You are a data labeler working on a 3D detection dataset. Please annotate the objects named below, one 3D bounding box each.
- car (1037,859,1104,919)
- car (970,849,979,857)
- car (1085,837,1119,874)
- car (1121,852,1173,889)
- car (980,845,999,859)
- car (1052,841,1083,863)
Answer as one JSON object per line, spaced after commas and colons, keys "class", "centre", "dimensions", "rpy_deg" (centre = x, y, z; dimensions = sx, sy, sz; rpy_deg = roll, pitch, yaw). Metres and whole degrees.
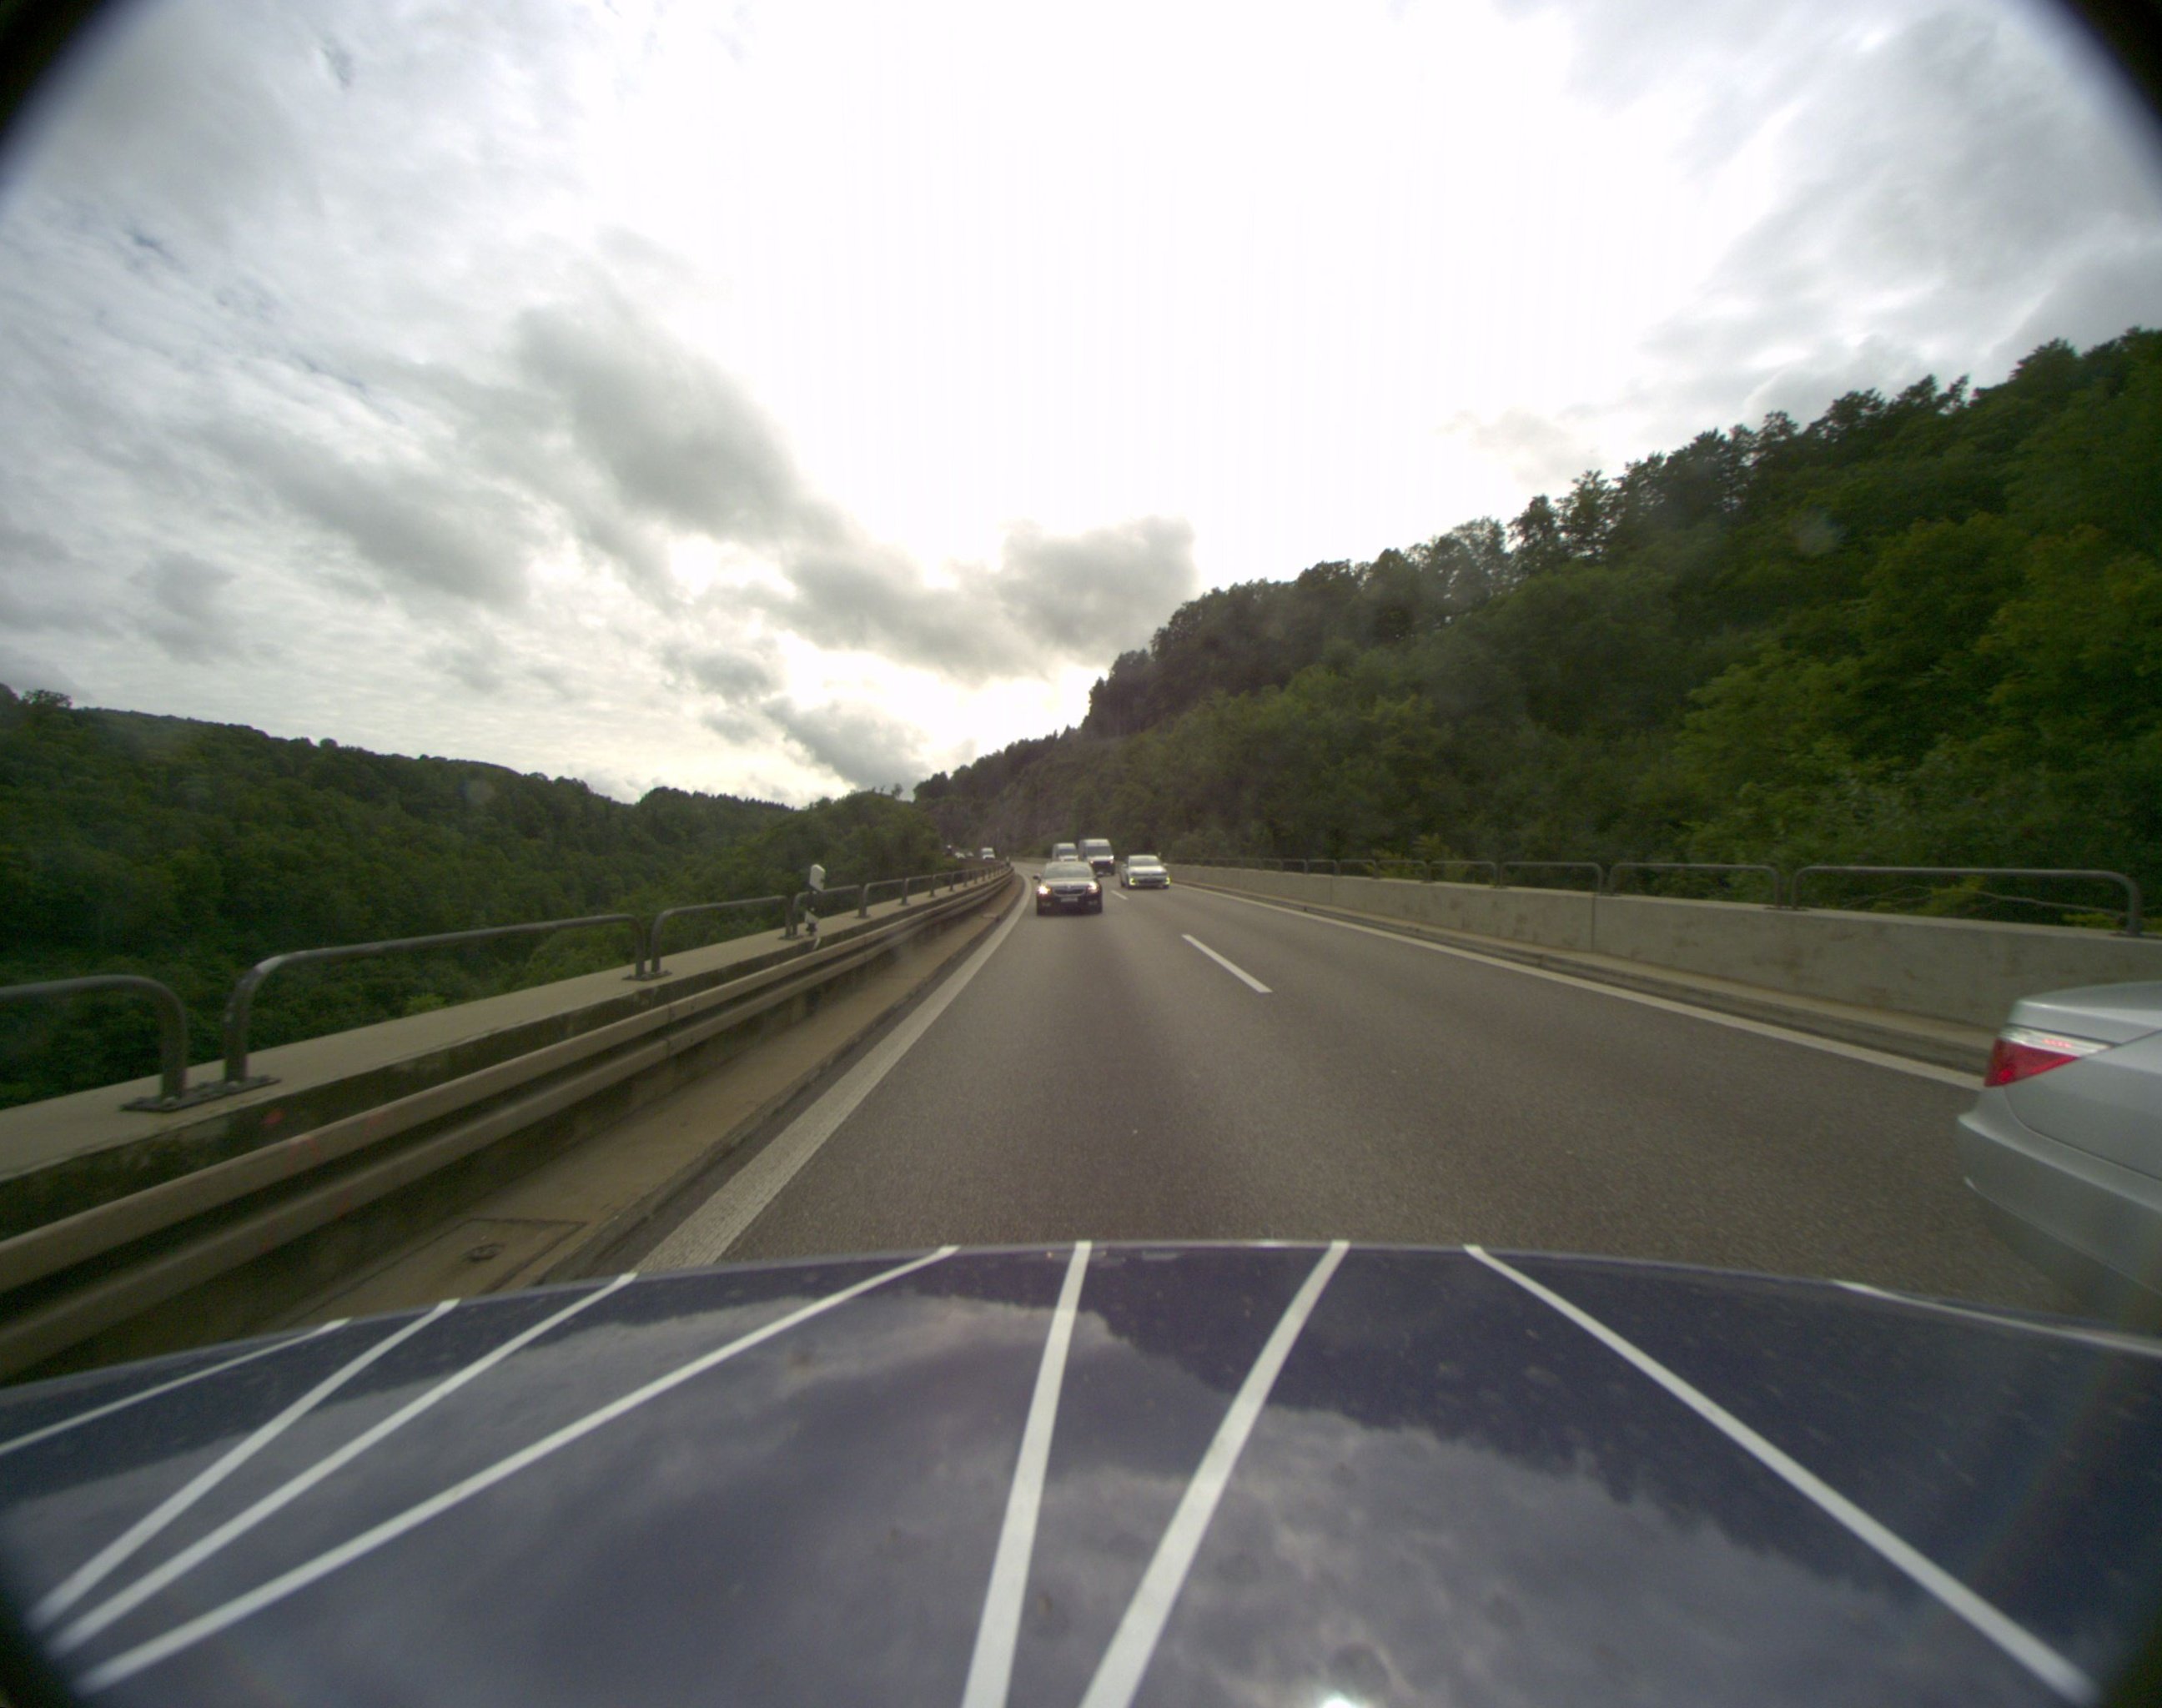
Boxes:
{"class": "car", "centre": [-0.316, 0.909, 21.577], "dimensions": [1.677, 1.419, 4.471], "rpy_deg": [-2, 1, -1]}
{"class": "car", "centre": [-29.745, -0.298, 211.514], "dimensions": [2.001, 2.002, 3.994], "rpy_deg": [-2, 0, -15]}
{"class": "car", "centre": [1.474, 0.060, 54.541], "dimensions": [1.869, 2.444, 4.979], "rpy_deg": [-2, 3, -4]}
{"class": "car", "centre": [2.877, 0.693, 33.894], "dimensions": [1.923, 1.452, 4.230], "rpy_deg": [-2, 1, 0]}
{"class": "car", "centre": [-15.893, -0.346, 131.495], "dimensions": [2.677, 2.409, 6.114], "rpy_deg": [-2, 1, -12]}
{"class": "car", "centre": [-1.379, -0.176, 76.286], "dimensions": [2.232, 2.061, 5.619], "rpy_deg": [-2, 1, -9]}
